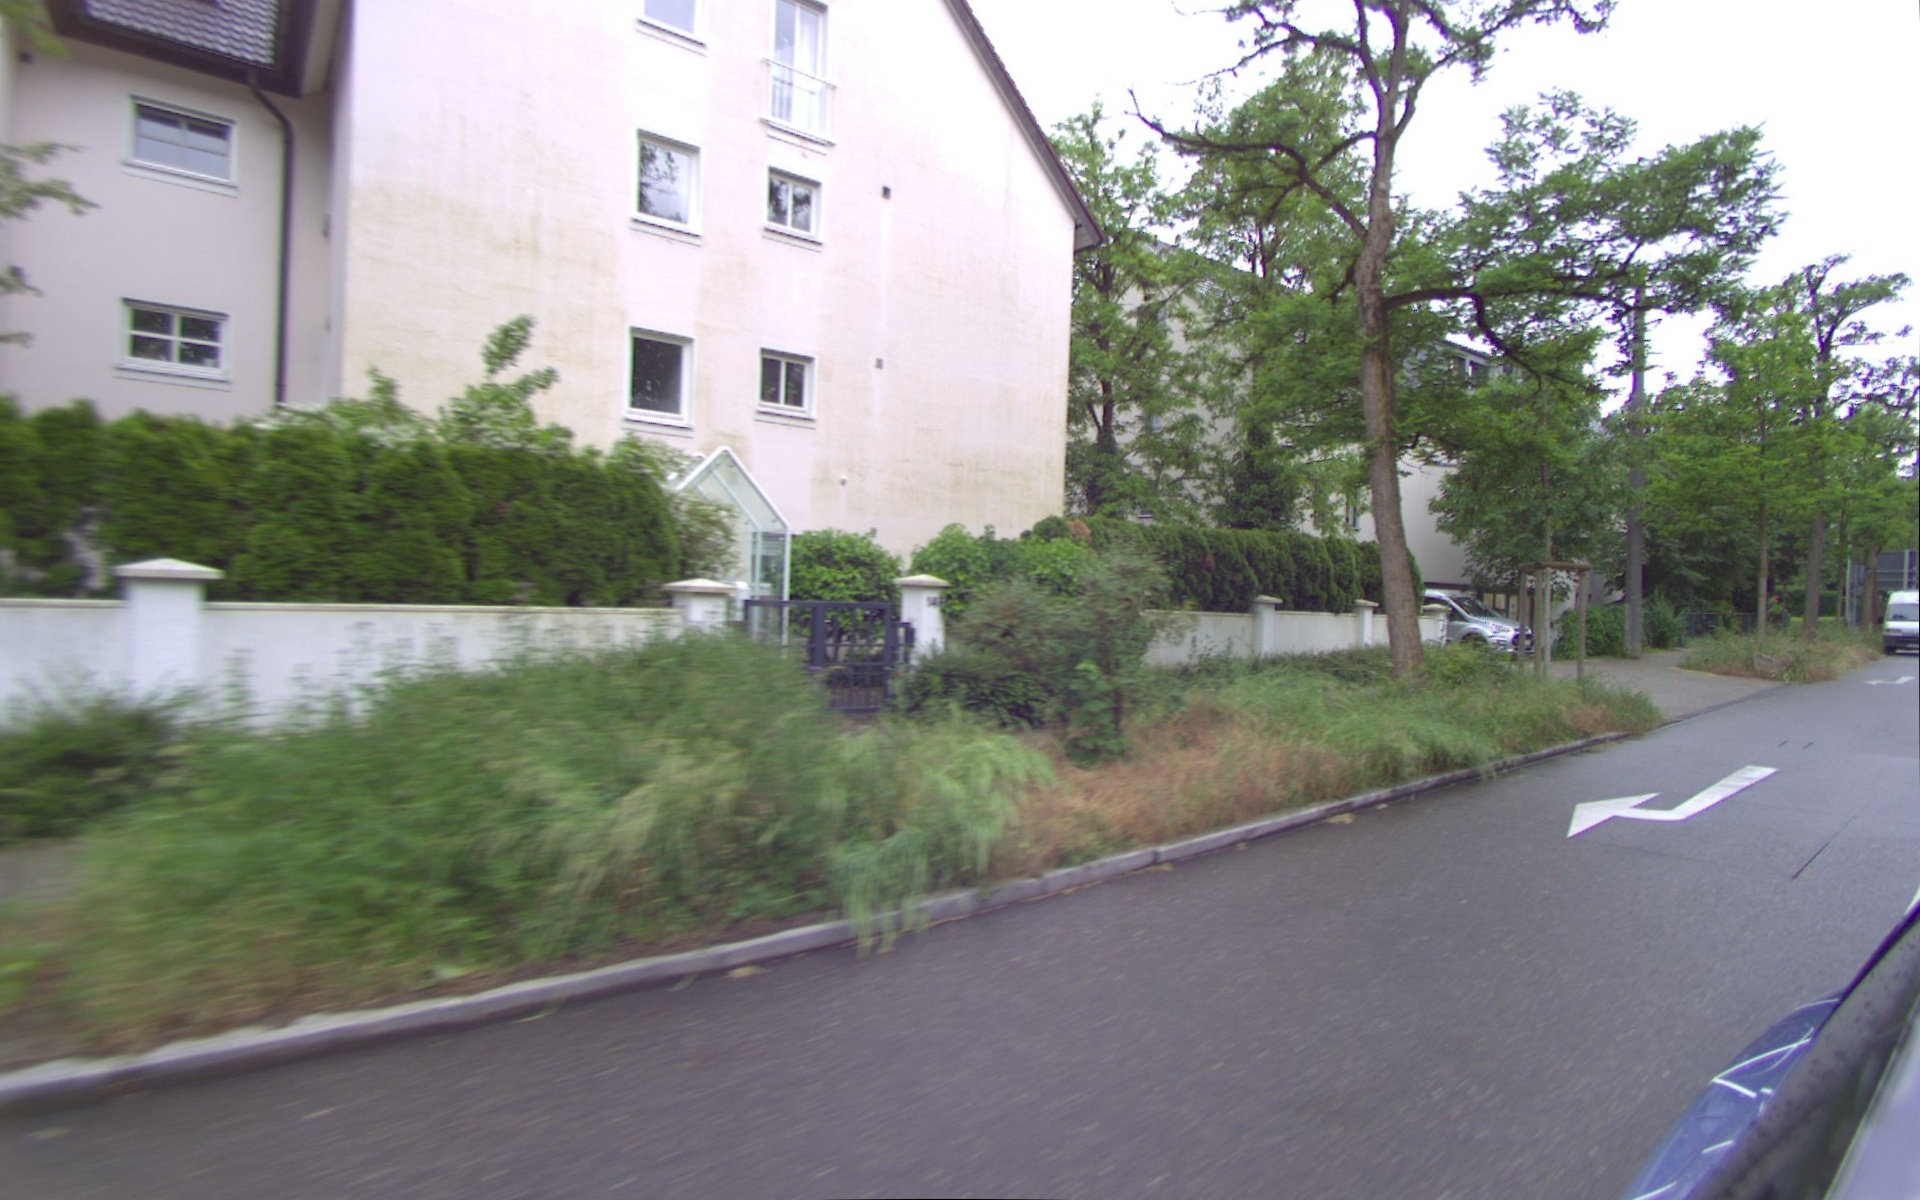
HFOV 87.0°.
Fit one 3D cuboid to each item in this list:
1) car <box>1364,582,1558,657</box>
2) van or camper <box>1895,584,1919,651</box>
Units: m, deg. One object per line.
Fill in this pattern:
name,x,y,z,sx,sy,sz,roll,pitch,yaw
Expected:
car,13.287,0.457,27.105,1.837,1.840,4.321,1,0,-32
van or camper,38.398,0.655,39.809,5.545,2.511,2.038,0,-1,-44
